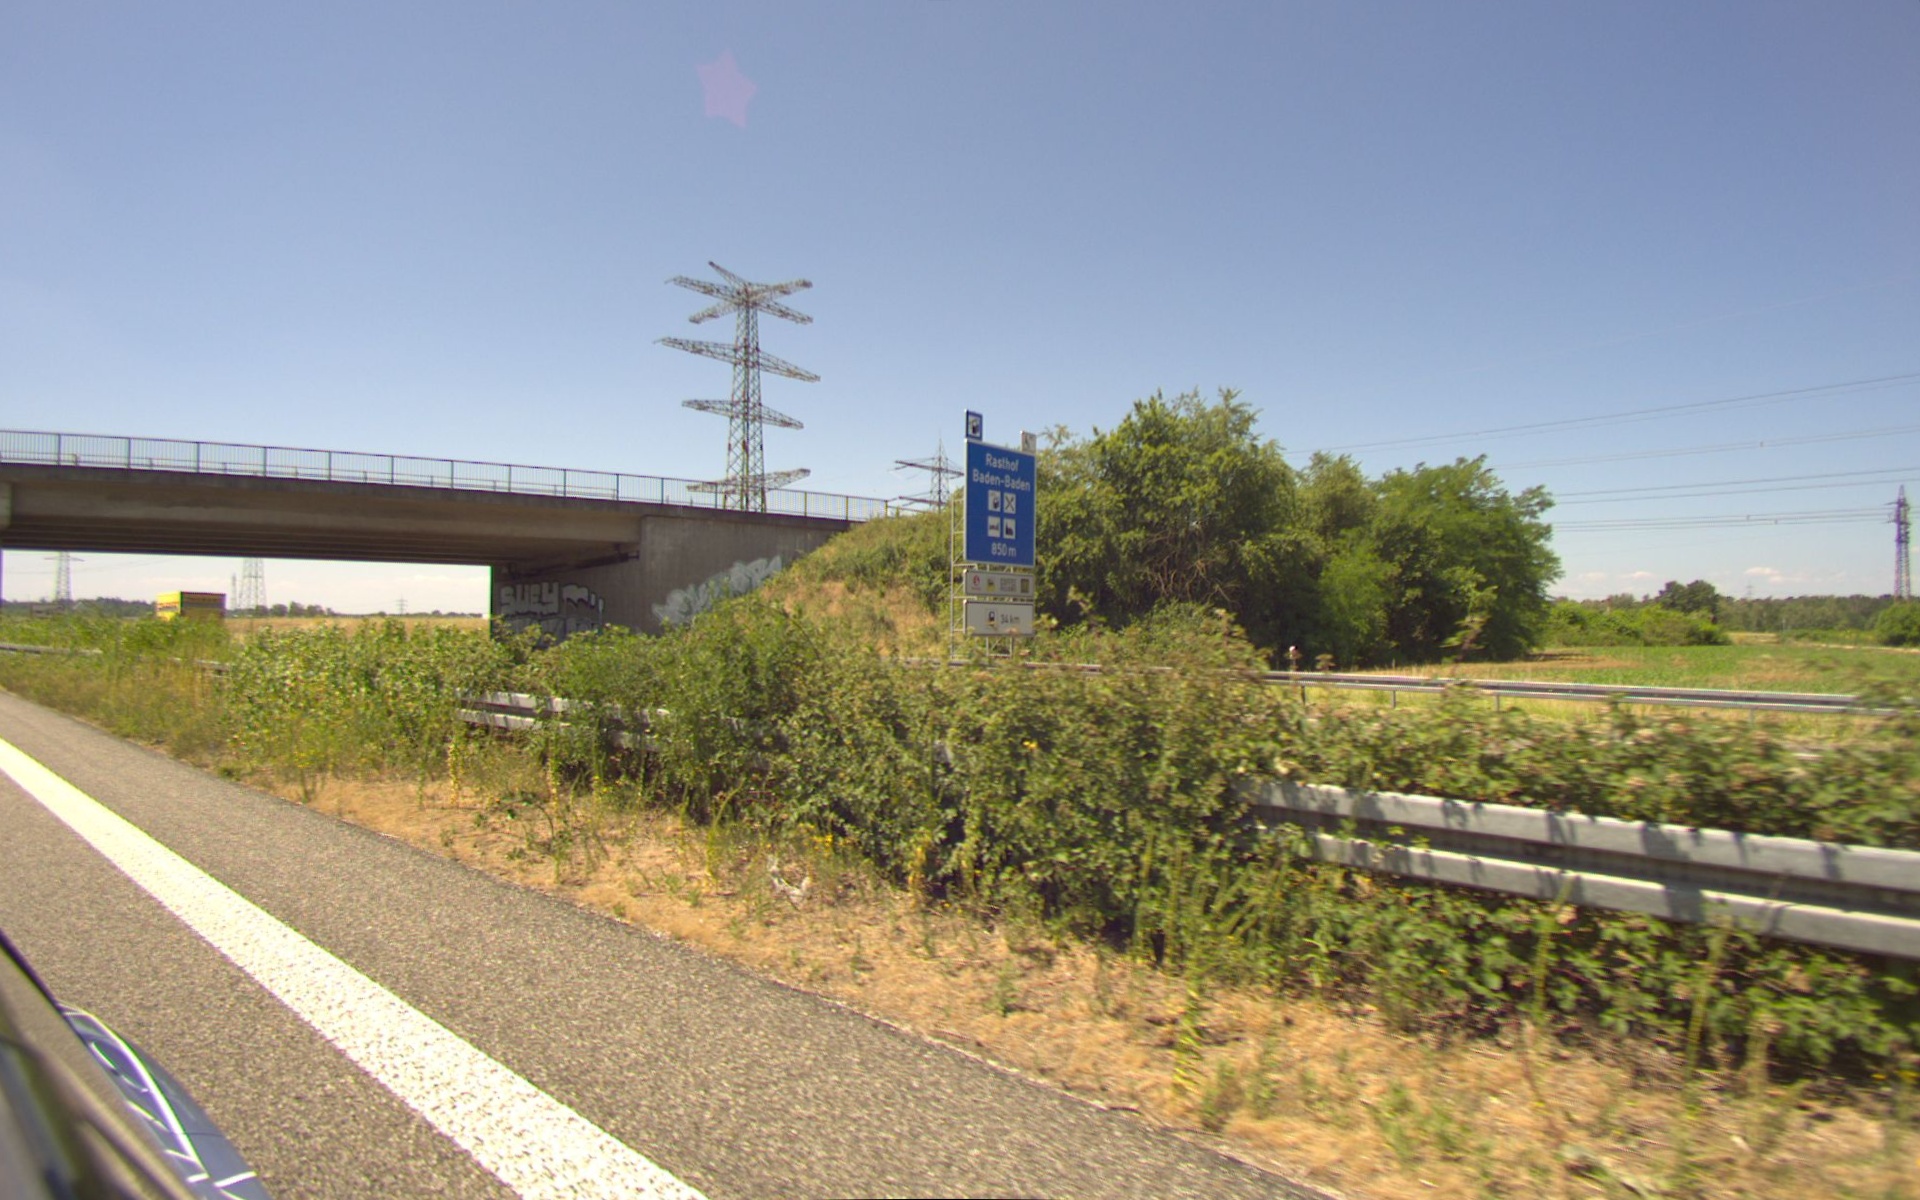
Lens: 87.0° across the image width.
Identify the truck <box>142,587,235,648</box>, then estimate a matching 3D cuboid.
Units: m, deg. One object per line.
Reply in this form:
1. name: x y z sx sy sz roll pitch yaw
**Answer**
1. truck: -53.021 1.192 69.487 8.658 3.892 3.475 -1 -1 42
